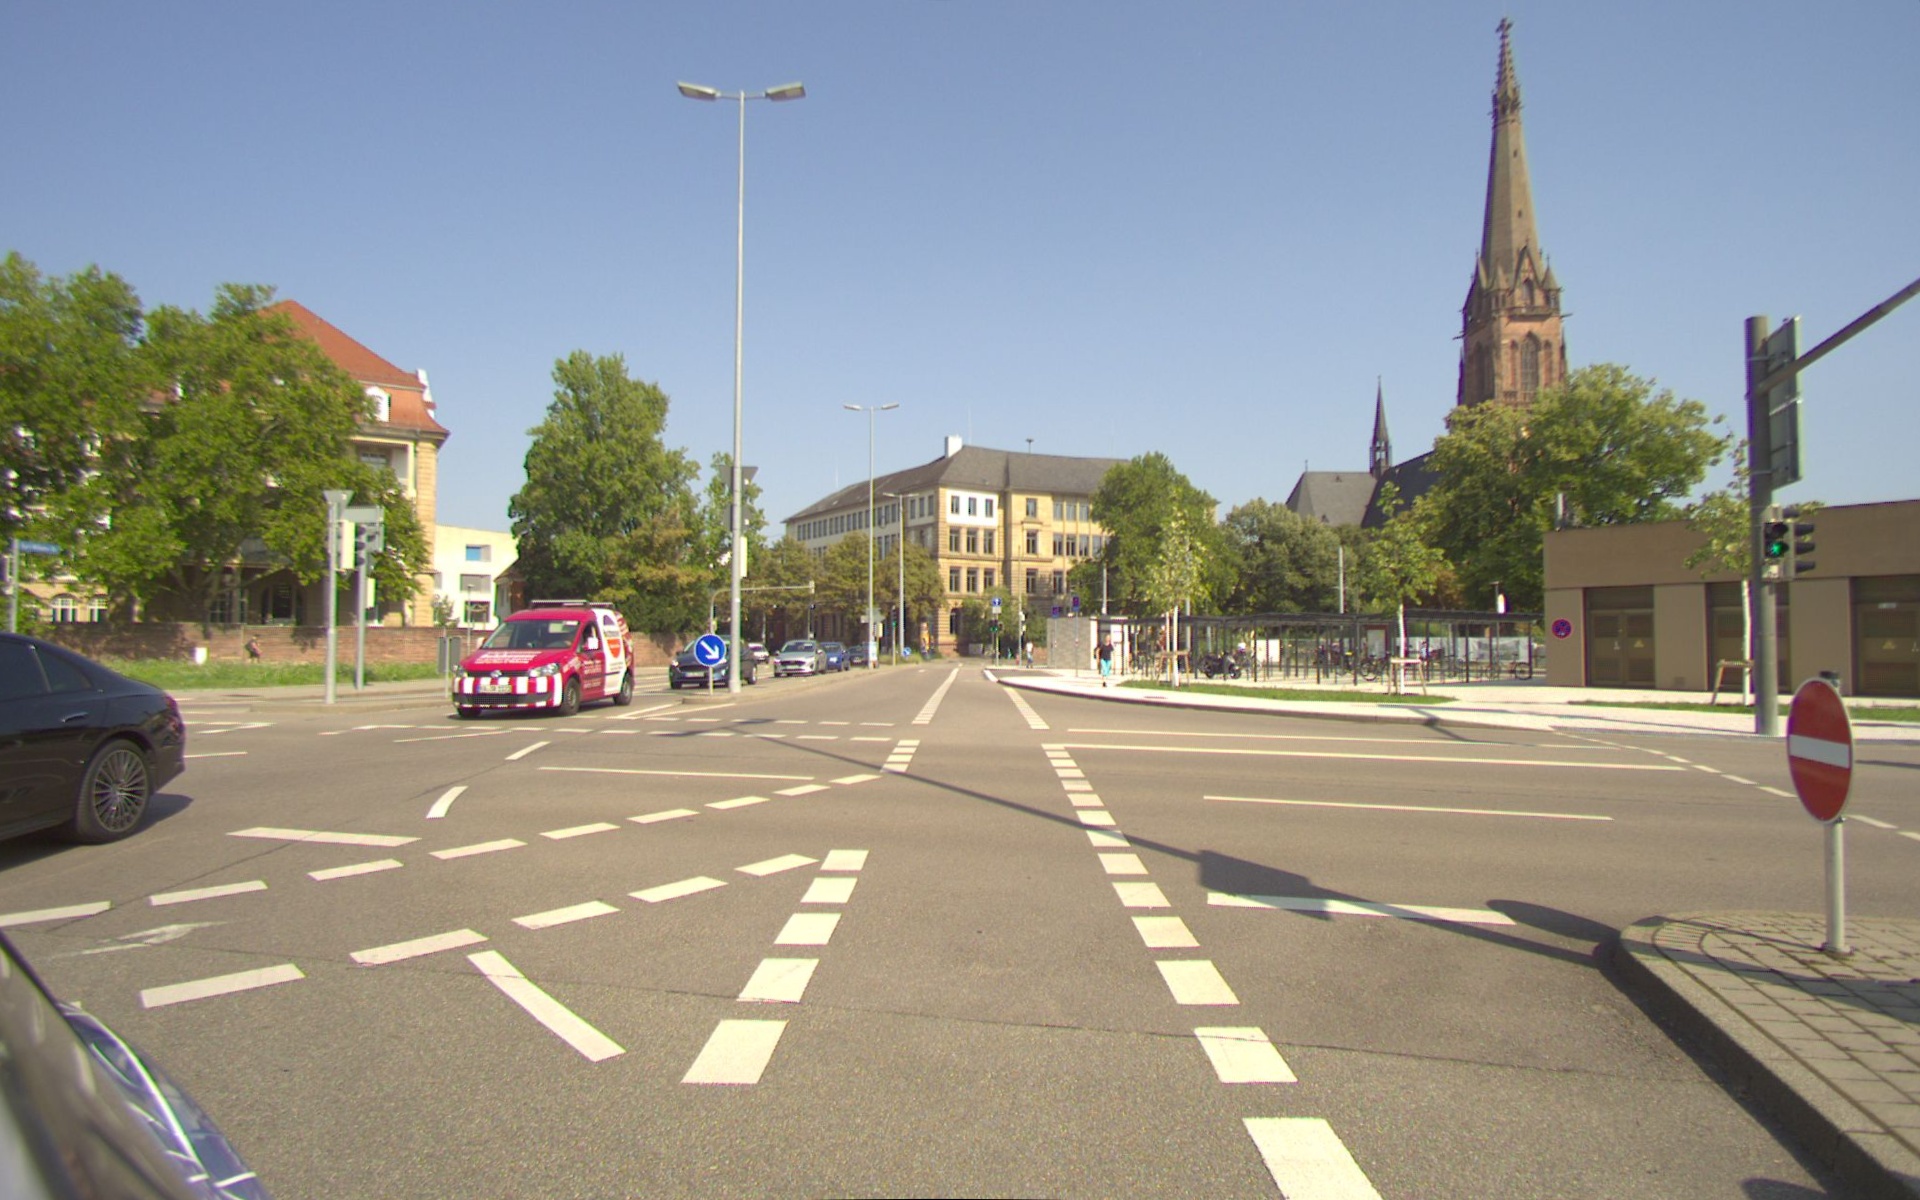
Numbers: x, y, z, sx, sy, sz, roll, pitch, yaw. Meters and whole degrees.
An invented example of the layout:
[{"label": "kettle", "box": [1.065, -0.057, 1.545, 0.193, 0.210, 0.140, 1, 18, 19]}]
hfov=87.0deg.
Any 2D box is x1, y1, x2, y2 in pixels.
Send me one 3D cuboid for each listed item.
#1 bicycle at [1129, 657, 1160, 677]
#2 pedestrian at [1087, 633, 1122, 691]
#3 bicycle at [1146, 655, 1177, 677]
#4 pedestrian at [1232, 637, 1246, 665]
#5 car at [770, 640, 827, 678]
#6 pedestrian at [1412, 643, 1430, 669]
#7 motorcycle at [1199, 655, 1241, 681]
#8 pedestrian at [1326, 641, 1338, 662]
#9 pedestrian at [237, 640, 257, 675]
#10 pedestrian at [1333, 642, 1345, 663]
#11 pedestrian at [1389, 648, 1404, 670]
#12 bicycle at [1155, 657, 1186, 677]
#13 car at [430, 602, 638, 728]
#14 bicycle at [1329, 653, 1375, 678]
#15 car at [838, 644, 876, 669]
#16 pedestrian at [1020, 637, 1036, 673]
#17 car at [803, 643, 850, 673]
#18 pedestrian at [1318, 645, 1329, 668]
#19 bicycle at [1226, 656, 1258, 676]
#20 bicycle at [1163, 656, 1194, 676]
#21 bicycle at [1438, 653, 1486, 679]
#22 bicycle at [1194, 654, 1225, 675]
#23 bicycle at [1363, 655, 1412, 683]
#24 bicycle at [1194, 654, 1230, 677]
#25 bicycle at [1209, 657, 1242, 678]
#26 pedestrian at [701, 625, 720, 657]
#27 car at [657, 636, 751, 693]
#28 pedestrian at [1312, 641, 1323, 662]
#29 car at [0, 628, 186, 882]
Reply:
[{"label": "bicycle", "box": [8.424, 3.057, 46.246, 0.394, 0.899, 1.592, 2, -3, -33]}, {"label": "pedestrian", "box": [4.049, 1.745, 28.446, 0.741, 1.577, 0.669, 2, -3, -16]}, {"label": "bicycle", "box": [9.326, 3.046, 46.927, 0.415, 0.975, 1.592, 2, -3, -33]}, {"label": "pedestrian", "box": [17.808, 3.261, 64.628, 0.707, 1.762, 0.389, 0, -3, -1]}, {"label": "car", "box": [-6.399, 2.348, 40.507, 1.697, 1.444, 3.859, 0, -3, 0]}, {"label": "pedestrian", "box": [24.773, 3.020, 54.393, 0.651, 1.405, 0.645, 2, -4, -35]}, {"label": "motorcycle", "box": [10.536, 2.754, 41.003, 0.534, 1.017, 1.750, 2, -3, -33]}, {"label": "pedestrian", "box": [22.427, 3.126, 61.013, 0.432, 1.234, 0.384, -1, -4, -32]}, {"label": "pedestrian", "box": [-34.950, 2.795, 49.619, 0.706, 1.696, 0.596, 2, -3, -30]}, {"label": "pedestrian", "box": [22.697, 3.117, 60.612, 0.432, 1.234, 0.384, -1, -4, -32]}, {"label": "pedestrian", "box": [24.046, 3.250, 55.807, 0.460, 1.206, 0.576, 2, -3, -32]}, {"label": "bicycle", "box": [9.841, 3.107, 47.318, 0.394, 0.899, 1.592, 2, -3, -33]}, {"label": "car", "box": [-6.876, 1.049, 16.856, 1.713, 1.833, 4.278, 0, -3, -1]}, {"label": "bicycle", "box": [16.522, 2.767, 42.689, 0.454, 1.017, 1.880, 2, -3, -33]}, {"label": "car", "box": [-6.682, 3.630, 65.834, 1.973, 1.564, 3.998, 0, -3, 1]}, {"label": "pedestrian", "box": [3.974, 3.206, 58.974, 0.728, 2.029, 0.709, -1, -3, 22]}, {"label": "car", "box": [-6.287, 2.737, 47.952, 1.586, 1.339, 4.331, 0, -3, 1]}, {"label": "pedestrian", "box": [21.626, 3.367, 60.200, 0.387, 1.328, 0.416, -1, -3, -28]}, {"label": "bicycle", "box": [13.194, 3.093, 47.403, 0.403, 0.899, 1.592, 2, -3, -33]}, {"label": "bicycle", "box": [10.256, 3.113, 47.613, 0.403, 0.899, 1.592, 2, -3, -33]}, {"label": "bicycle", "box": [19.945, 2.620, 40.251, 0.394, 1.017, 1.750, 2, -3, -33]}, {"label": "bicycle", "box": [12.081, 3.129, 49.039, 0.445, 0.985, 1.592, 0, -2, -33]}, {"label": "bicycle", "box": [15.783, 2.548, 37.414, 0.394, 1.017, 1.750, 2, -3, -33]}, {"label": "bicycle", "box": [11.451, 2.977, 46.015, 0.524, 0.994, 1.718, 2, -3, -33]}, {"label": "bicycle", "box": [12.173, 3.087, 46.434, 0.403, 0.899, 1.592, 2, -3, -33]}, {"label": "pedestrian", "box": [-16.457, 2.697, 66.775, 0.814, 2.029, 0.903, -3, -3, 15]}, {"label": "car", "box": [-7.083, 1.774, 28.385, 1.617, 1.438, 4.322, -1, -3, -1]}, {"label": "pedestrian", "box": [21.696, 3.128, 61.367, 0.432, 1.234, 0.384, -1, -4, -32]}, {"label": "car", "box": [-6.267, 0.849, 4.901, 1.797, 1.451, 4.881, 0, -2, -8]}]
